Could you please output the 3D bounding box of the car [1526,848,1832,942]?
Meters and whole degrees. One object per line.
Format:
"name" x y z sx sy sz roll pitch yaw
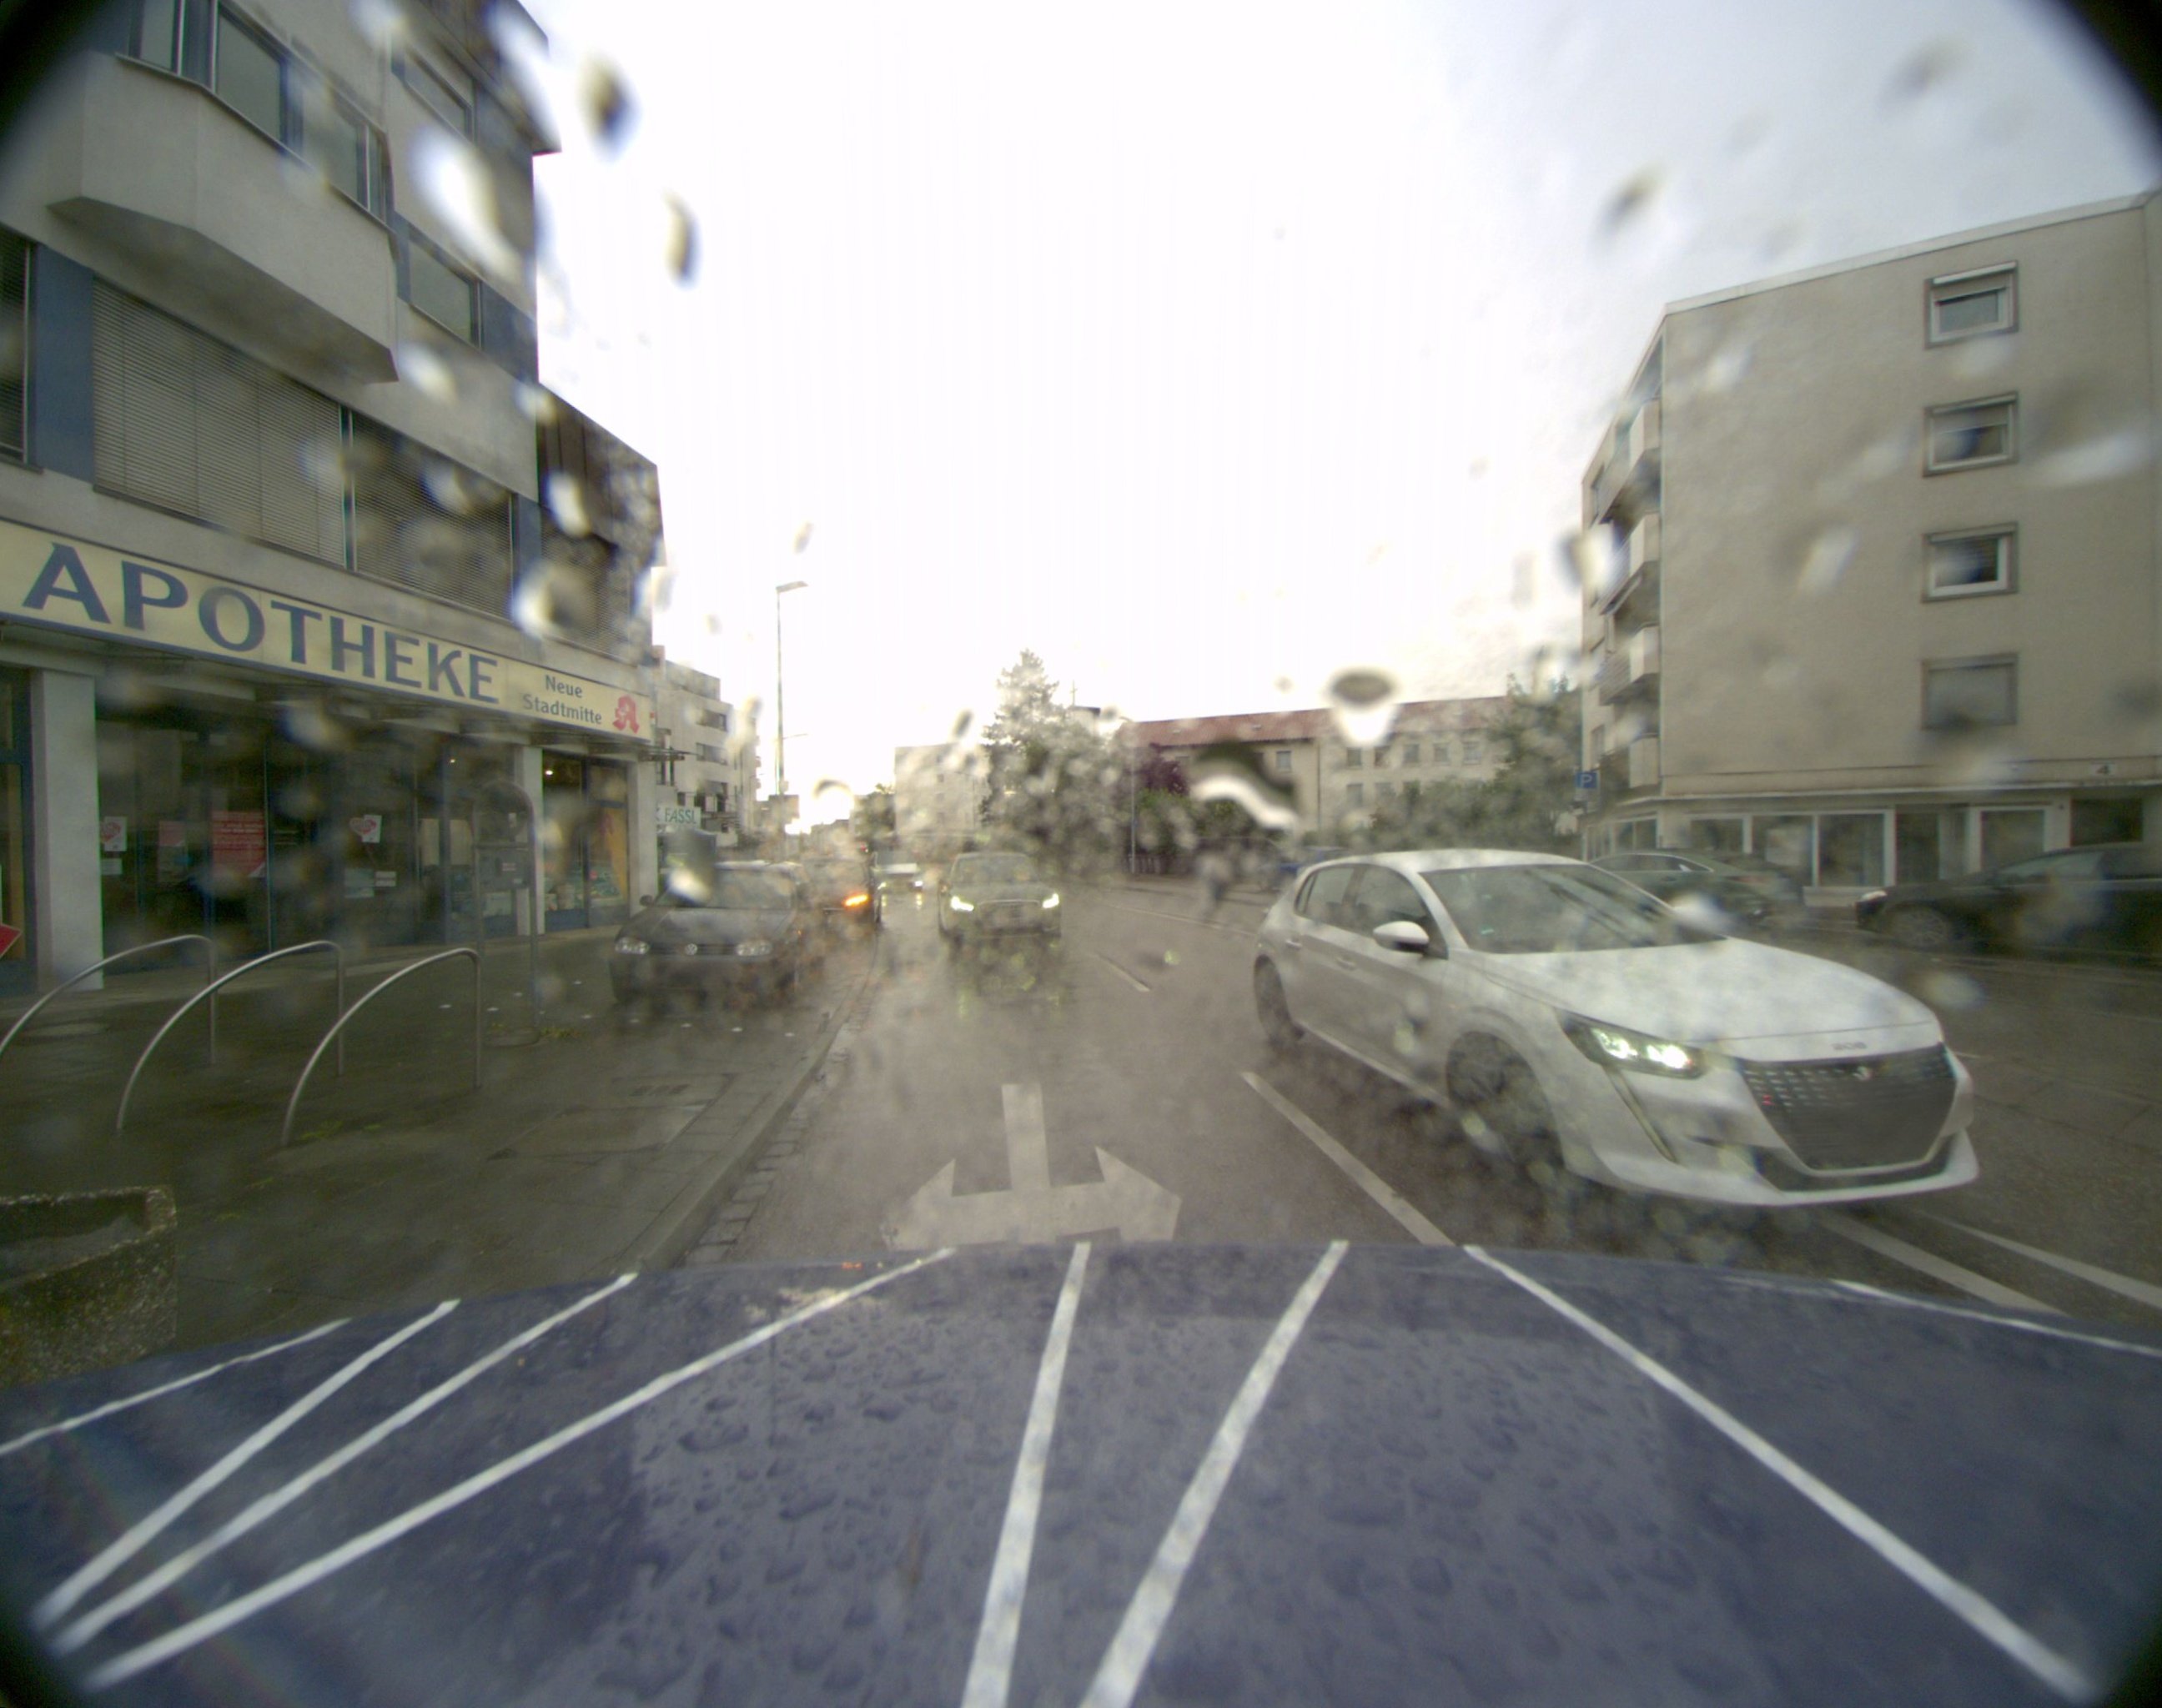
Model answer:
"car" 11.139 0.643 14.571 1.839 1.426 4.266 -2 2 -21

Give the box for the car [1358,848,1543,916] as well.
"car" 9.266 0.626 19.504 1.639 1.491 4.338 -1 1 -21

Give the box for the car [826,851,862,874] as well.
"car" -15.742 0.551 50.378 1.804 1.361 3.964 -1 2 -24

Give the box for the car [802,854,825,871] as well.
"car" -27.360 0.880 77.634 2.002 1.606 3.993 -3 1 -20

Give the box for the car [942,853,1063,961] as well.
"car" -1.425 0.769 13.117 1.735 1.436 4.042 -2 2 -8

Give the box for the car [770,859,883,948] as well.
"car" -4.808 0.851 14.857 1.660 1.416 3.995 -1 1 -12

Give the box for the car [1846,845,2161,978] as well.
"car" 12.914 0.647 9.604 1.839 1.451 4.180 -2 2 -21

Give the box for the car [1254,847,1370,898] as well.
"car" 7.418 0.530 24.783 1.636 1.497 3.873 -1 1 -20

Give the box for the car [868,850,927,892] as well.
"car" -7.239 0.627 29.725 1.736 1.519 4.056 -1 0 -21

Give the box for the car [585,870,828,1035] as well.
"car" -4.011 0.943 8.786 1.656 1.364 3.727 1 0 -12

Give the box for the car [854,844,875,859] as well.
"car" -21.613 -0.259 75.815 1.753 1.446 3.806 -1 2 -21

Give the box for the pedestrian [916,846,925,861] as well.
"pedestrian" -19.840 -0.075 93.865 0.857 1.726 0.834 -1 2 -29

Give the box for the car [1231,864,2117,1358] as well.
"car" 2.420 0.828 4.418 1.744 1.401 3.892 -3 1 -9
